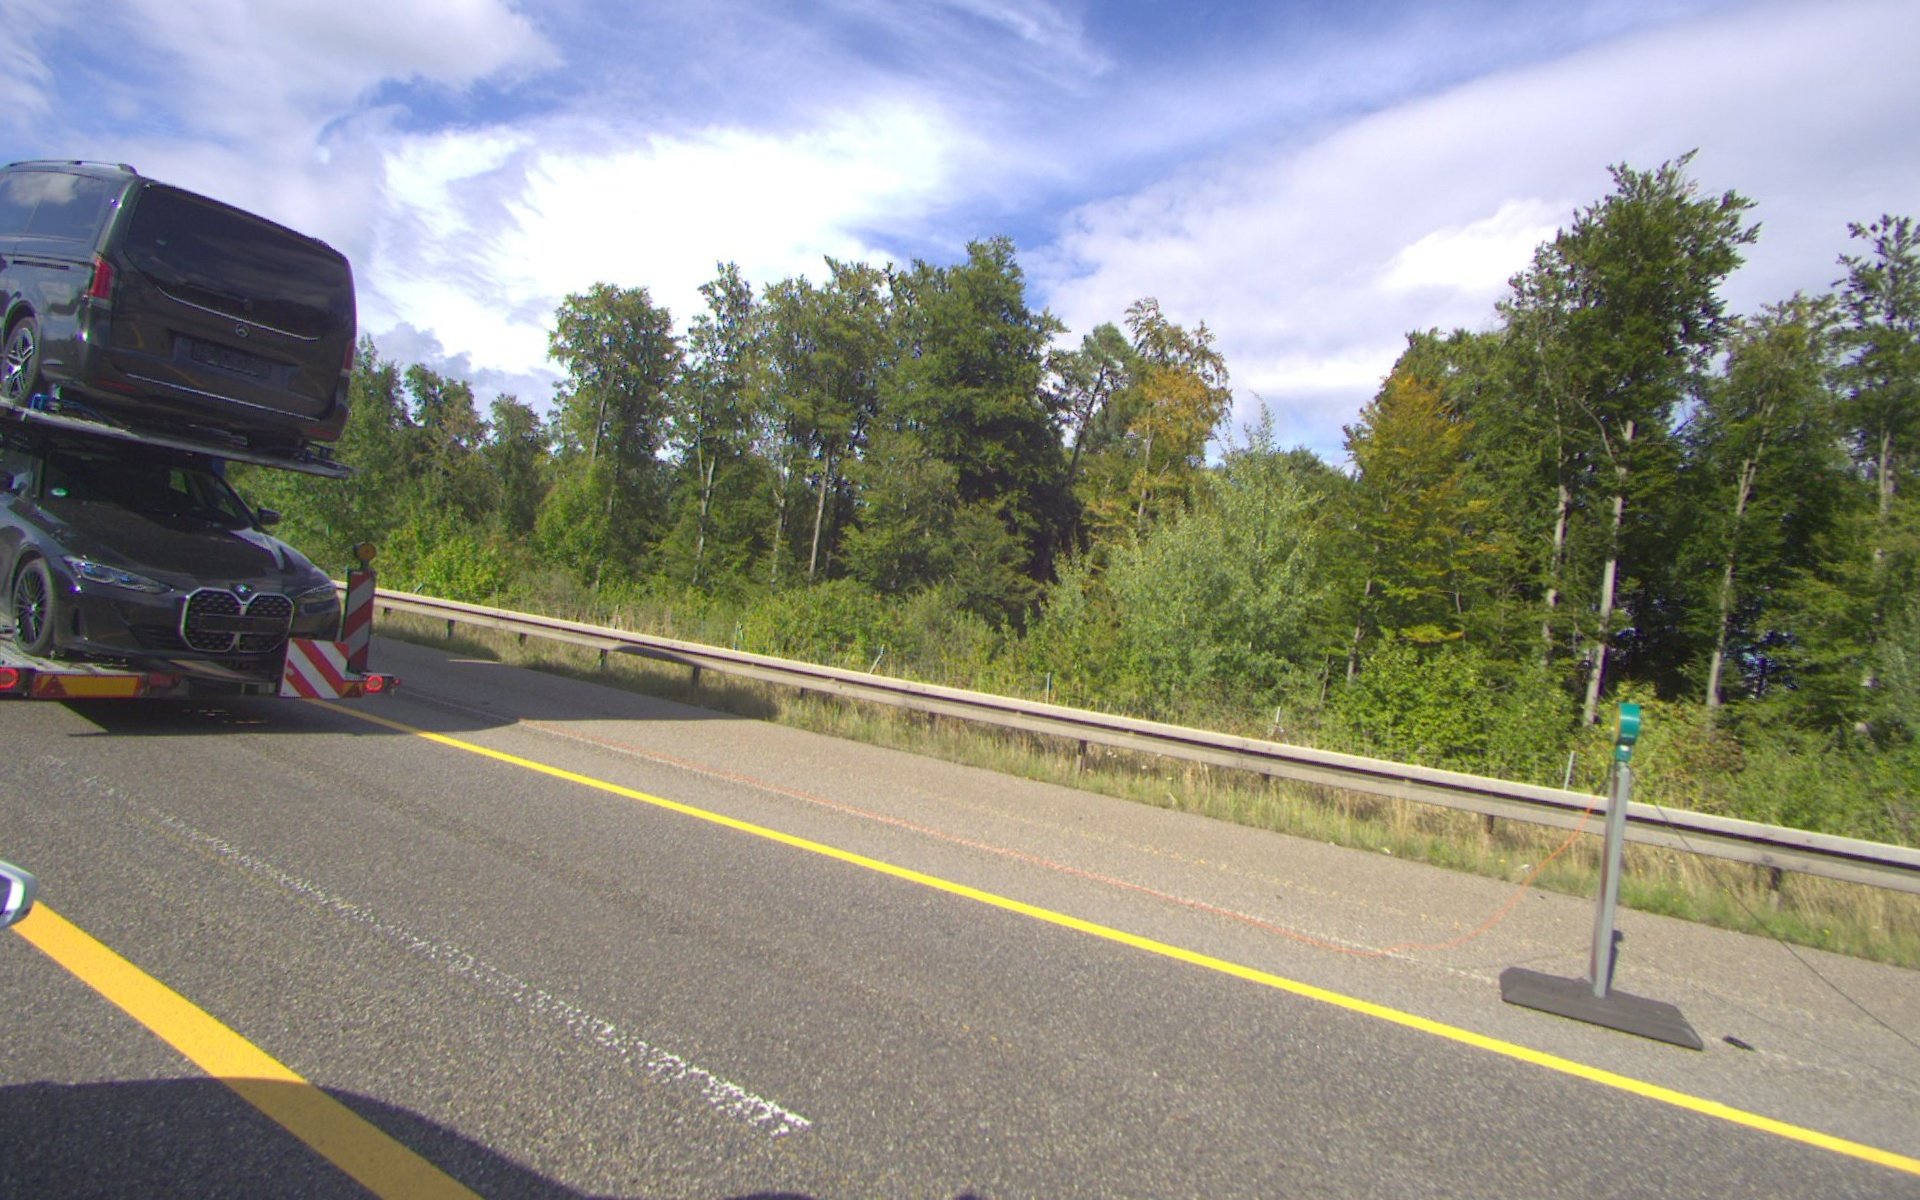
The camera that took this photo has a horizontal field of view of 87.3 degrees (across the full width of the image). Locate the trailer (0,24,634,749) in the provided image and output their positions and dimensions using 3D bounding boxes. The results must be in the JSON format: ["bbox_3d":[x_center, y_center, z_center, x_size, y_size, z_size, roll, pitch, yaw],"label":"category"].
[{"bbox_3d":[-10.987,-1.828,11.423,15.951,4.245,3.734,6,-1,30],"label":"trailer"}]

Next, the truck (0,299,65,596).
[{"bbox_3d":[-18.037,-2.712,15.459,7.815,4.245,3.770,6,-1,30],"label":"truck"}]
